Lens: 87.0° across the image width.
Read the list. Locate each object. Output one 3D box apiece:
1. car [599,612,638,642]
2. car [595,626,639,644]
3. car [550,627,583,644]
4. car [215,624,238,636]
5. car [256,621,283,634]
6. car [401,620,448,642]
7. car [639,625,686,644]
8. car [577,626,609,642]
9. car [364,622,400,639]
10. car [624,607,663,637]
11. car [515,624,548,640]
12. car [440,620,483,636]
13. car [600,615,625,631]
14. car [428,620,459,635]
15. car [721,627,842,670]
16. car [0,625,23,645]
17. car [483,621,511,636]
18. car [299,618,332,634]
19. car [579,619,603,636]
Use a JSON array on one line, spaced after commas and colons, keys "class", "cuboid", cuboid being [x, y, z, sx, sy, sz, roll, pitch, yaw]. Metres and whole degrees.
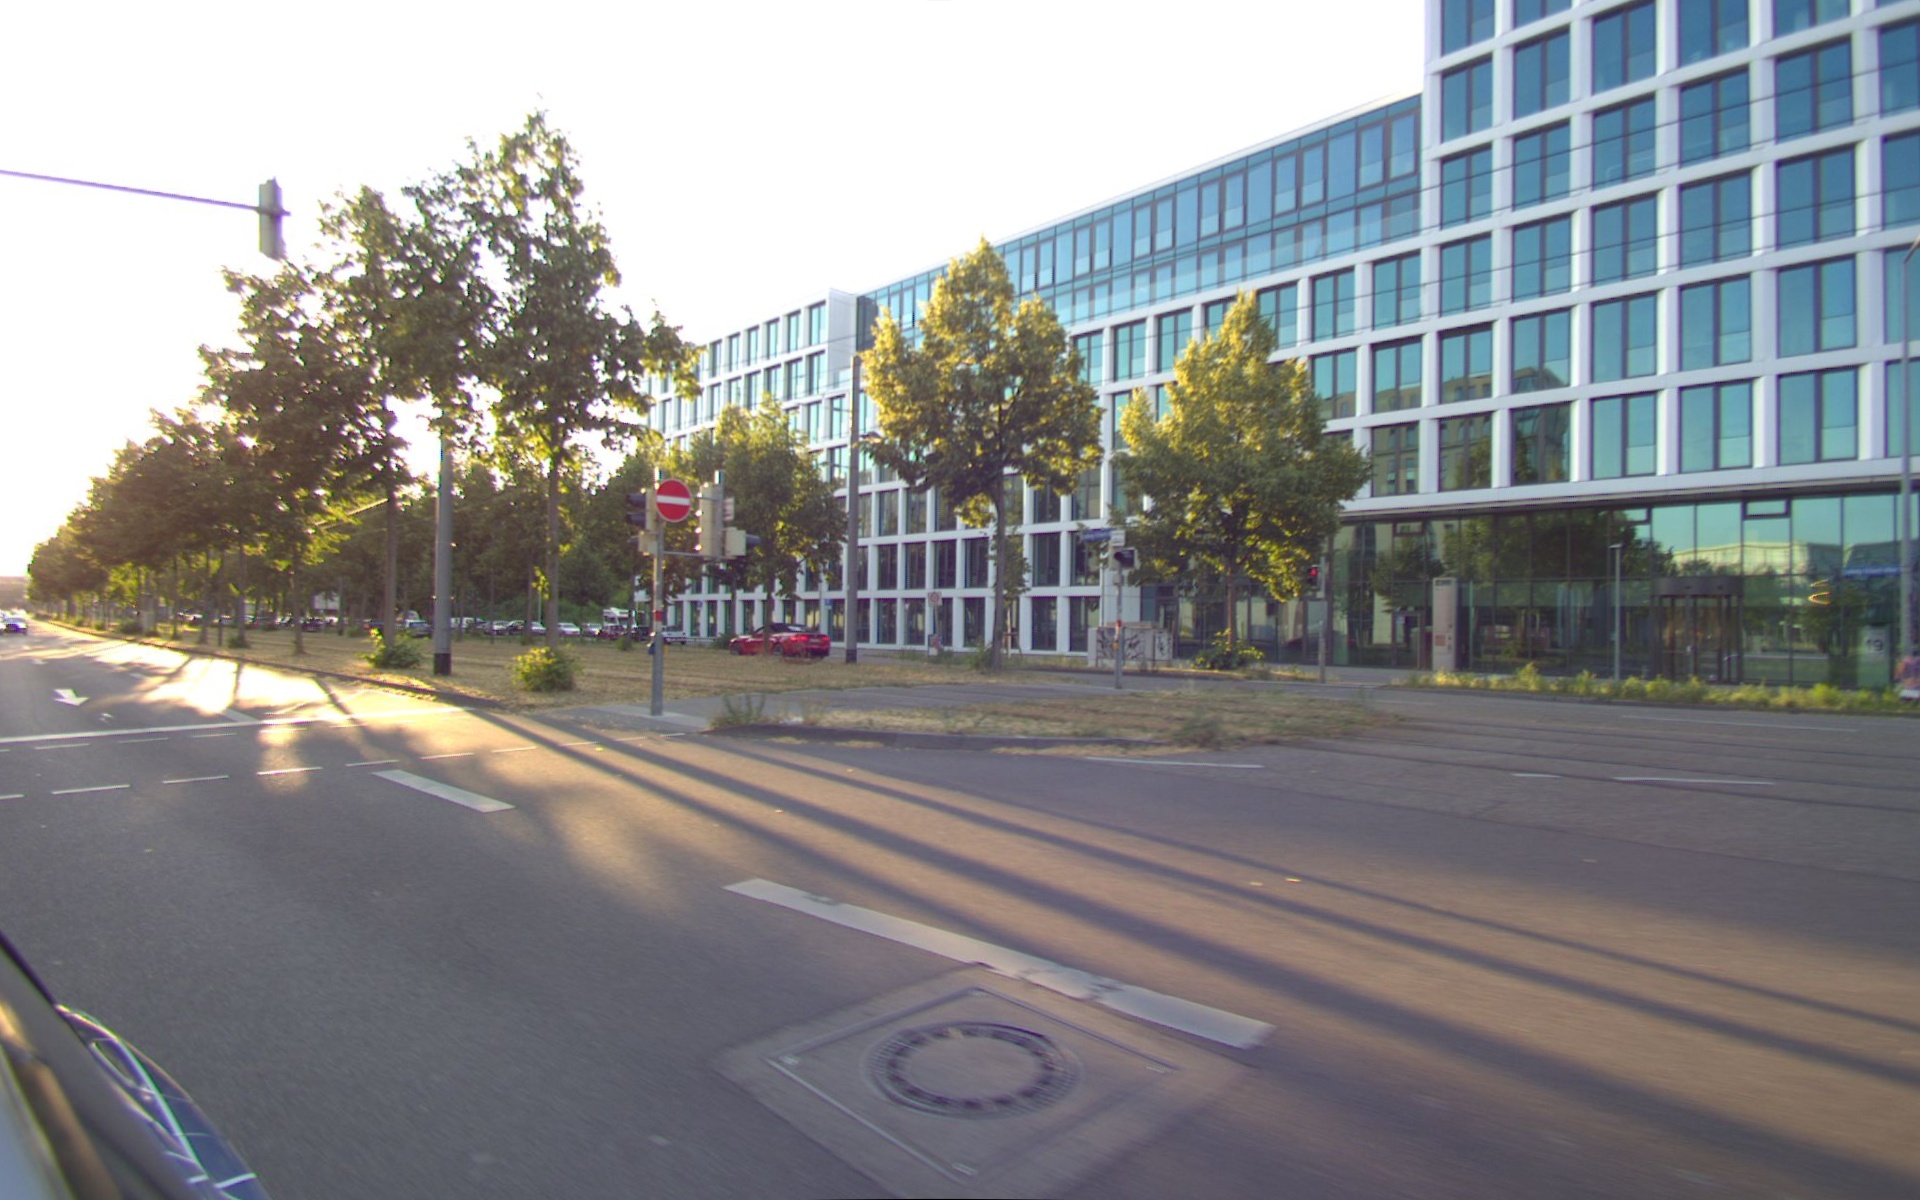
[{"class": "car", "cuboid": [-35.317, 2.771, 104.566, 2.130, 3.014, 5.734, 2, -2, -36]}, {"class": "car", "cuboid": [-28.041, 2.878, 82.670, 4.002, 1.413, 1.739, -1, -2, 45]}, {"class": "car", "cuboid": [-39.008, 3.481, 100.248, 1.968, 1.604, 4.008, 2, -2, -38]}, {"class": "car", "cuboid": [-90.501, 3.707, 124.849, 4.002, 1.413, 1.626, -1, -2, 45]}, {"class": "car", "cuboid": [-74.187, 2.944, 108.673, 4.002, 1.413, 1.626, -1, -2, 45]}, {"class": "car", "cuboid": [-35.639, 2.028, 67.335, 4.002, 1.413, 1.626, -1, -2, 45]}, {"class": "car", "cuboid": [-22.573, 2.604, 76.719, 4.002, 1.413, 1.739, -1, -2, 45]}, {"class": "car", "cuboid": [-37.281, 3.433, 102.778, 1.968, 1.604, 4.008, 2, -2, -38]}, {"class": "car", "cuboid": [-49.572, 2.629, 86.722, 4.002, 1.413, 1.626, -1, -2, 45]}, {"class": "car", "cuboid": [-33.373, 2.333, 106.575, 2.130, 3.014, 5.734, 2, -2, -36]}, {"class": "car", "cuboid": [-42.945, 3.206, 101.440, 1.968, 1.604, 4.344, 2, -2, -38]}, {"class": "car", "cuboid": [-57.101, 3.182, 115.955, 2.000, 1.754, 4.026, -1, -2, 43]}, {"class": "car", "cuboid": [-39.600, 2.631, 115.242, 1.821, 1.826, 4.012, 1, -2, -31]}, {"class": "car", "cuboid": [-60.350, 3.239, 118.214, 1.970, 1.754, 4.614, 2, -2, -44]}, {"class": "car", "cuboid": [-6.648, 1.759, 37.410, 1.970, 1.445, 4.902, 2, -2, -44]}, {"class": "car", "cuboid": [-75.546, 2.732, 80.008, 1.970, 1.493, 4.338, 2, -2, -44]}, {"class": "car", "cuboid": [-54.748, 3.390, 119.666, 1.747, 1.719, 4.003, 2, -2, -44]}, {"class": "car", "cuboid": [-57.972, 2.322, 91.060, 4.002, 1.413, 1.626, -1, -2, 45]}, {"class": "car", "cuboid": [-41.545, 3.083, 113.868, 1.821, 1.826, 4.012, 1, -2, -31]}]
